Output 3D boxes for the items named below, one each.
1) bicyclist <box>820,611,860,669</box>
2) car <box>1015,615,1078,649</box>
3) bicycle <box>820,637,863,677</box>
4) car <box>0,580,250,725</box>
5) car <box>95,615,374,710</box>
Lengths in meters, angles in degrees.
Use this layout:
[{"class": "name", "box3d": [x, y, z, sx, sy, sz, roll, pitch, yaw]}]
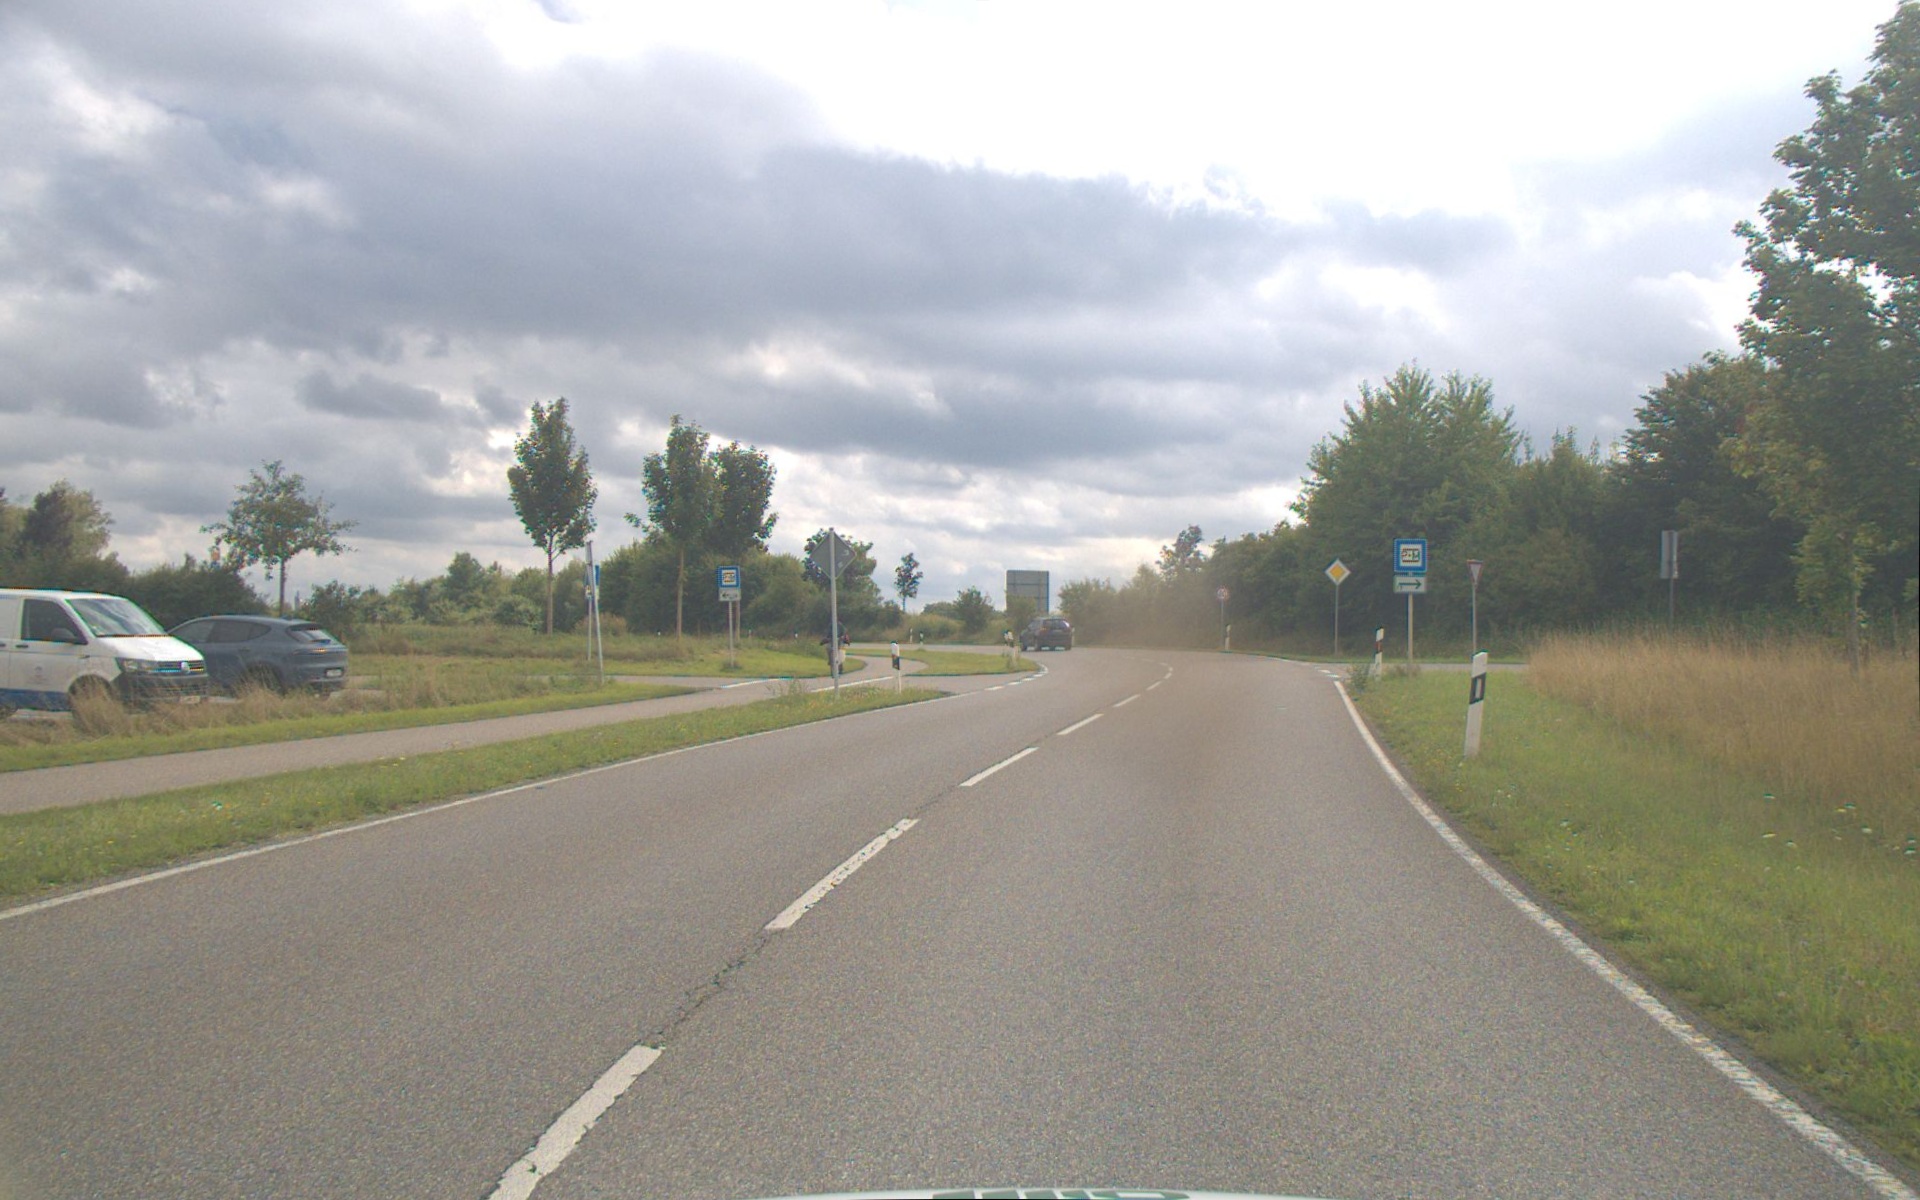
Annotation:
[{"class": "bicyclist", "box3d": [-3.322, 1.096, 45.822, 0.813, 1.593, 1.056, 0, -1, 14]}, {"class": "car", "box3d": [4.393, 1.615, 84.267, 1.878, 1.695, 3.978, 0, -1, -19]}, {"class": "bicycle", "box3d": [-3.282, 1.570, 45.992, 0.622, 1.050, 2.192, -1, -1, 12]}, {"class": "car", "box3d": [-13.427, 0.761, 24.740, 4.789, 2.049, 2.058, 0, -1, 9]}, {"class": "car", "box3d": [-12.927, 1.094, 29.583, 4.157, 1.623, 2.002, 0, -1, 10]}]
